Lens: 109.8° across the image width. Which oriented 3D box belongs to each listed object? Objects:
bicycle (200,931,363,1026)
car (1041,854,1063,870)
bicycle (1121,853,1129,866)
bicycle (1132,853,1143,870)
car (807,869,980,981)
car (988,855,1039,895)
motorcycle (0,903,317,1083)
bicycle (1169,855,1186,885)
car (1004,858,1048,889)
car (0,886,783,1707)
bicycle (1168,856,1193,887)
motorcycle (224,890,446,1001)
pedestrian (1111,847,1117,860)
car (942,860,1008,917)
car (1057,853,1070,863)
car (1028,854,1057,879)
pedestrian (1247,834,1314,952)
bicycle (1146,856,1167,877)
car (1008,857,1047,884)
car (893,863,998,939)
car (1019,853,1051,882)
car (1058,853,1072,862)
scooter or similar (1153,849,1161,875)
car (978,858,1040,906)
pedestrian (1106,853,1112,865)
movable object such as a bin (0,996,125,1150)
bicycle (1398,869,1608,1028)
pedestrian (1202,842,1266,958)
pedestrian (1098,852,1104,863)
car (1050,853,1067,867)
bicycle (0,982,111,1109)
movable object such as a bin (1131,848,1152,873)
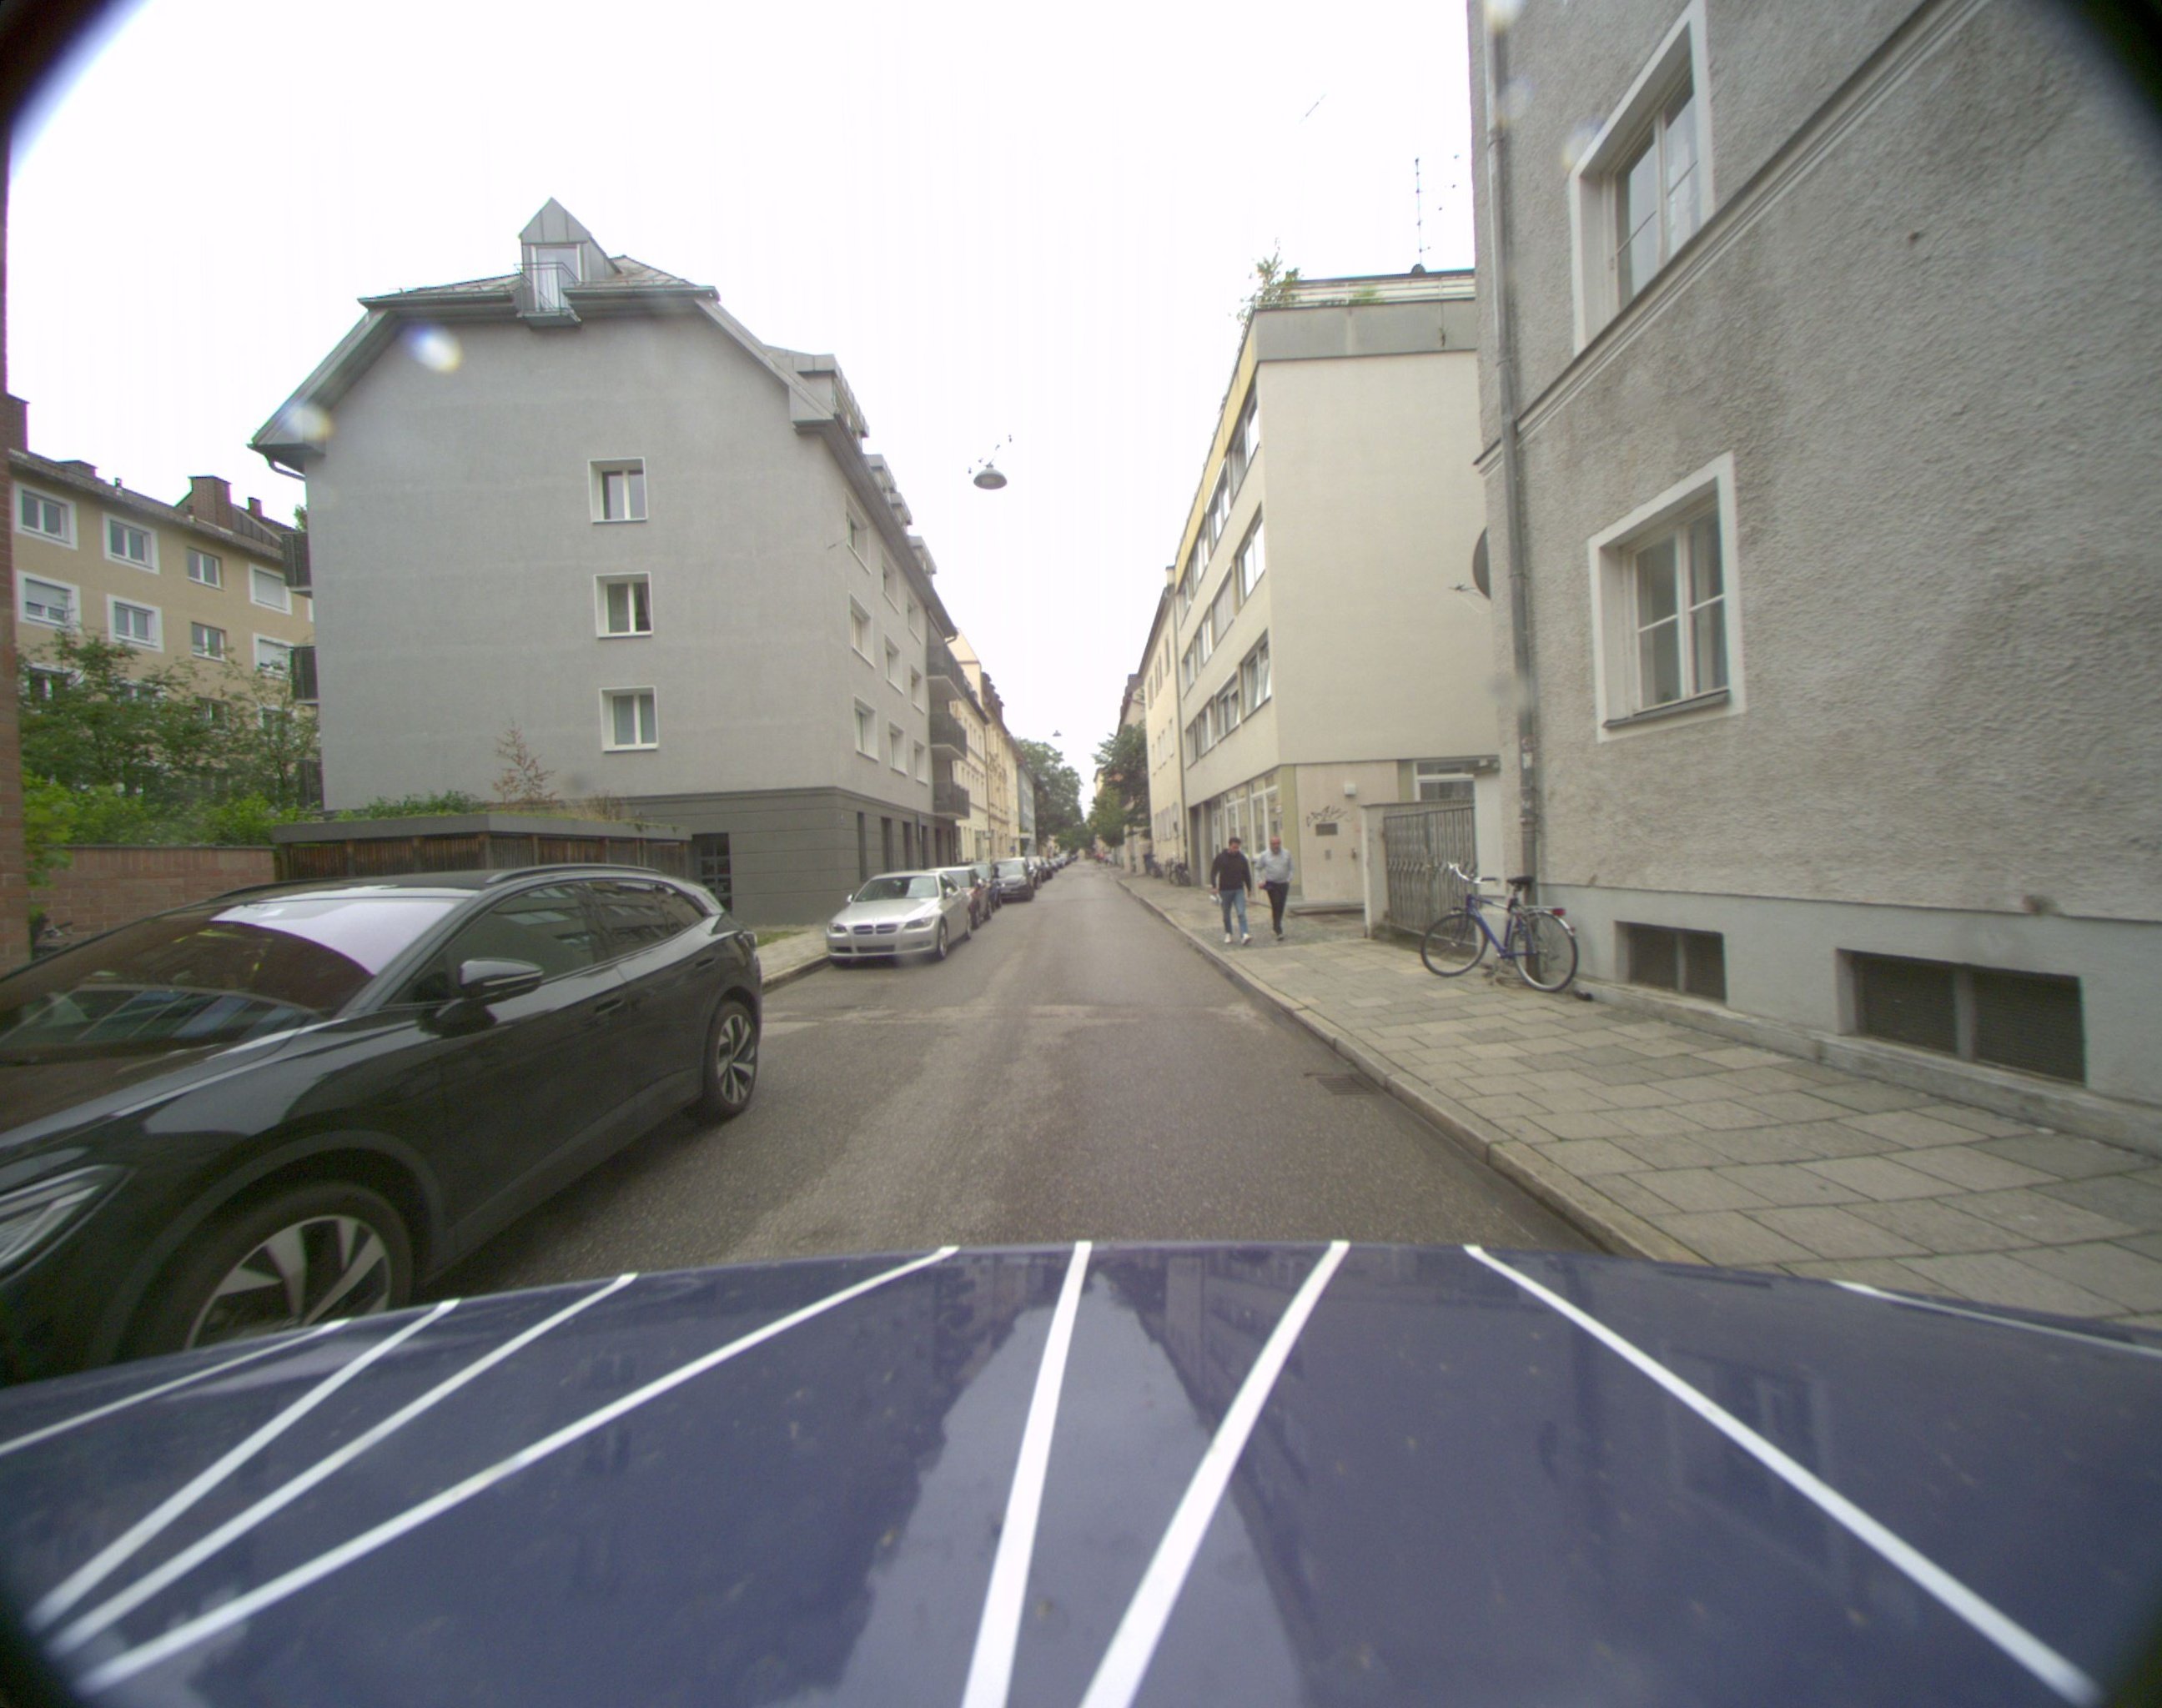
[{"bbox_3d":[-9.140,1.398,8.753,0.375,0.854,1.320,-2,1,4],"label":"bicycle"},{"bbox_3d":[-2.817,0.793,74.321,1.830,1.327,4.508,-7,0,0],"label":"car"},{"bbox_3d":[3.956,0.477,68.735,0.539,1.132,1.916,-5,0,0],"label":"bicycle"},{"bbox_3d":[4.093,0.526,55.093,0.545,1.154,1.882,-5,0,-1],"label":"bicycle"},{"bbox_3d":[-3.021,1.075,13.303,1.841,1.409,4.600,-4,0,-1],"label":"car"},{"bbox_3d":[-2.858,0.863,32.952,1.880,1.561,4.315,-2,0,-1],"label":"car"},{"bbox_3d":[-8.738,1.220,7.291,0.541,1.337,1.942,-2,1,12],"label":"motorcycle"},{"bbox_3d":[4.040,0.647,31.884,0.459,1.153,1.605,-5,1,1],"label":"bicycle"},{"bbox_3d":[-2.702,0.954,38.162,1.812,1.355,3.945,-2,0,1],"label":"car"},{"bbox_3d":[-3.026,1.057,3.106,1.890,1.546,4.390,-4,0,-2],"label":"car"},{"bbox_3d":[3.952,0.672,30.169,0.563,1.153,1.720,-3,1,-5],"label":"bicycle"},{"bbox_3d":[-9.889,1.204,10.096,2.520,1.335,0.551,-2,1,6],"label":"motorcycle"},{"bbox_3d":[4.206,-0.094,96.899,0.615,1.612,0.687,-6,1,1],"label":"pedestrian"},{"bbox_3d":[-3.190,1.007,23.356,1.525,1.503,3.202,-4,0,-1],"label":"car"},{"bbox_3d":[-2.710,0.626,116.115,1.860,1.366,4.509,-5,1,-1],"label":"car"},{"bbox_3d":[-2.684,0.833,53.546,1.706,1.597,4.684,-3,0,0],"label":"car"},{"bbox_3d":[3.208,0.600,12.273,0.720,1.786,0.916,-5,1,1],"label":"pedestrian"},{"bbox_3d":[3.943,0.649,40.028,0.705,0.978,1.822,-7,1,-4],"label":"bicycle"},{"bbox_3d":[-2.946,0.894,42.699,1.804,1.377,4.348,-2,0,0],"label":"car"},{"bbox_3d":[-3.117,1.038,18.317,1.750,1.453,4.149,-4,0,-1],"label":"car"},{"bbox_3d":[-2.831,0.785,47.644,1.680,1.651,4.512,-3,0,0],"label":"car"},{"bbox_3d":[-2.523,0.576,121.435,1.998,1.306,4.593,-3,0,1],"label":"car"},{"bbox_3d":[4.175,0.435,41.755,0.318,1.368,1.239,-2,1,0],"label":"scooter or similar"},{"bbox_3d":[-2.576,0.963,28.231,1.844,1.520,4.292,-4,0,-1],"label":"car"},{"bbox_3d":[3.606,0.652,96.933,0.624,1.570,0.714,-4,1,0],"label":"pedestrian"},{"bbox_3d":[-7.120,1.413,4.786,1.089,0.827,0.844,-3,0,1],"label":"movable object such as a bin"},{"bbox_3d":[3.773,0.775,6.966,0.644,1.210,1.662,-3,1,-19],"label":"bicycle"},{"bbox_3d":[2.435,0.706,12.179,0.720,1.755,0.838,-5,1,1],"label":"pedestrian"},{"bbox_3d":[3.228,0.511,123.148,0.766,1.742,0.970,-3,1,0],"label":"pedestrian"},{"bbox_3d":[-2.667,0.742,91.709,1.846,1.420,4.263,-7,0,-2],"label":"car"},{"bbox_3d":[-8.379,1.468,5.822,1.319,0.854,0.413,-2,1,1],"label":"bicycle"},{"bbox_3d":[3.975,0.425,49.940,1.177,1.433,1.249,-8,-1,6],"label":"movable object such as a bin"}]
